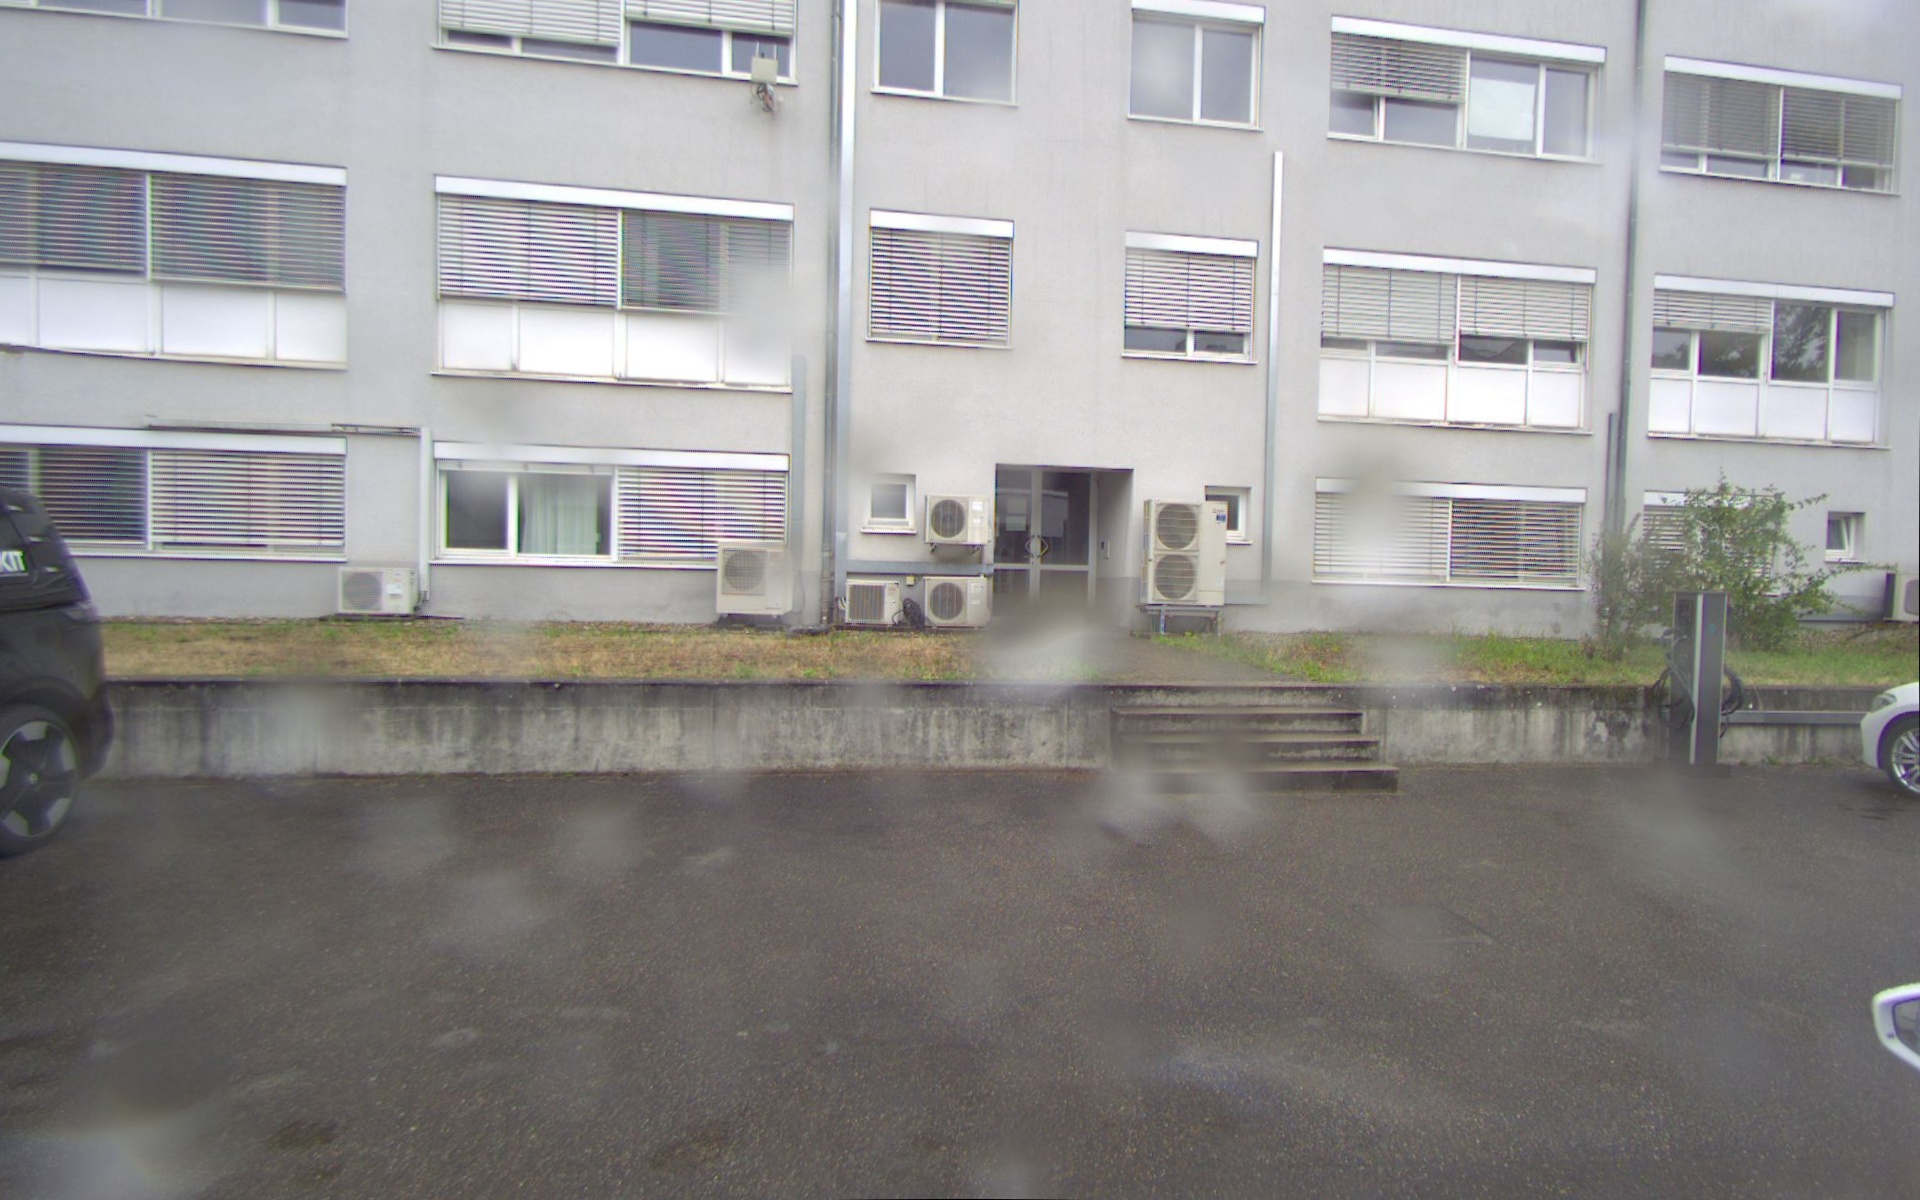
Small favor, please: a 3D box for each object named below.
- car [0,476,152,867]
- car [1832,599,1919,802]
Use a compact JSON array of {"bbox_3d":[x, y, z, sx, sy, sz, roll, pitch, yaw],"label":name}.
[{"bbox_3d":[-5.344,0.381,3.432,1.952,1.861,4.623,0,2,-9],"label":"car"},{"bbox_3d":[7.962,0.790,5.914,1.721,1.453,4.147,2,1,-7],"label":"car"}]
